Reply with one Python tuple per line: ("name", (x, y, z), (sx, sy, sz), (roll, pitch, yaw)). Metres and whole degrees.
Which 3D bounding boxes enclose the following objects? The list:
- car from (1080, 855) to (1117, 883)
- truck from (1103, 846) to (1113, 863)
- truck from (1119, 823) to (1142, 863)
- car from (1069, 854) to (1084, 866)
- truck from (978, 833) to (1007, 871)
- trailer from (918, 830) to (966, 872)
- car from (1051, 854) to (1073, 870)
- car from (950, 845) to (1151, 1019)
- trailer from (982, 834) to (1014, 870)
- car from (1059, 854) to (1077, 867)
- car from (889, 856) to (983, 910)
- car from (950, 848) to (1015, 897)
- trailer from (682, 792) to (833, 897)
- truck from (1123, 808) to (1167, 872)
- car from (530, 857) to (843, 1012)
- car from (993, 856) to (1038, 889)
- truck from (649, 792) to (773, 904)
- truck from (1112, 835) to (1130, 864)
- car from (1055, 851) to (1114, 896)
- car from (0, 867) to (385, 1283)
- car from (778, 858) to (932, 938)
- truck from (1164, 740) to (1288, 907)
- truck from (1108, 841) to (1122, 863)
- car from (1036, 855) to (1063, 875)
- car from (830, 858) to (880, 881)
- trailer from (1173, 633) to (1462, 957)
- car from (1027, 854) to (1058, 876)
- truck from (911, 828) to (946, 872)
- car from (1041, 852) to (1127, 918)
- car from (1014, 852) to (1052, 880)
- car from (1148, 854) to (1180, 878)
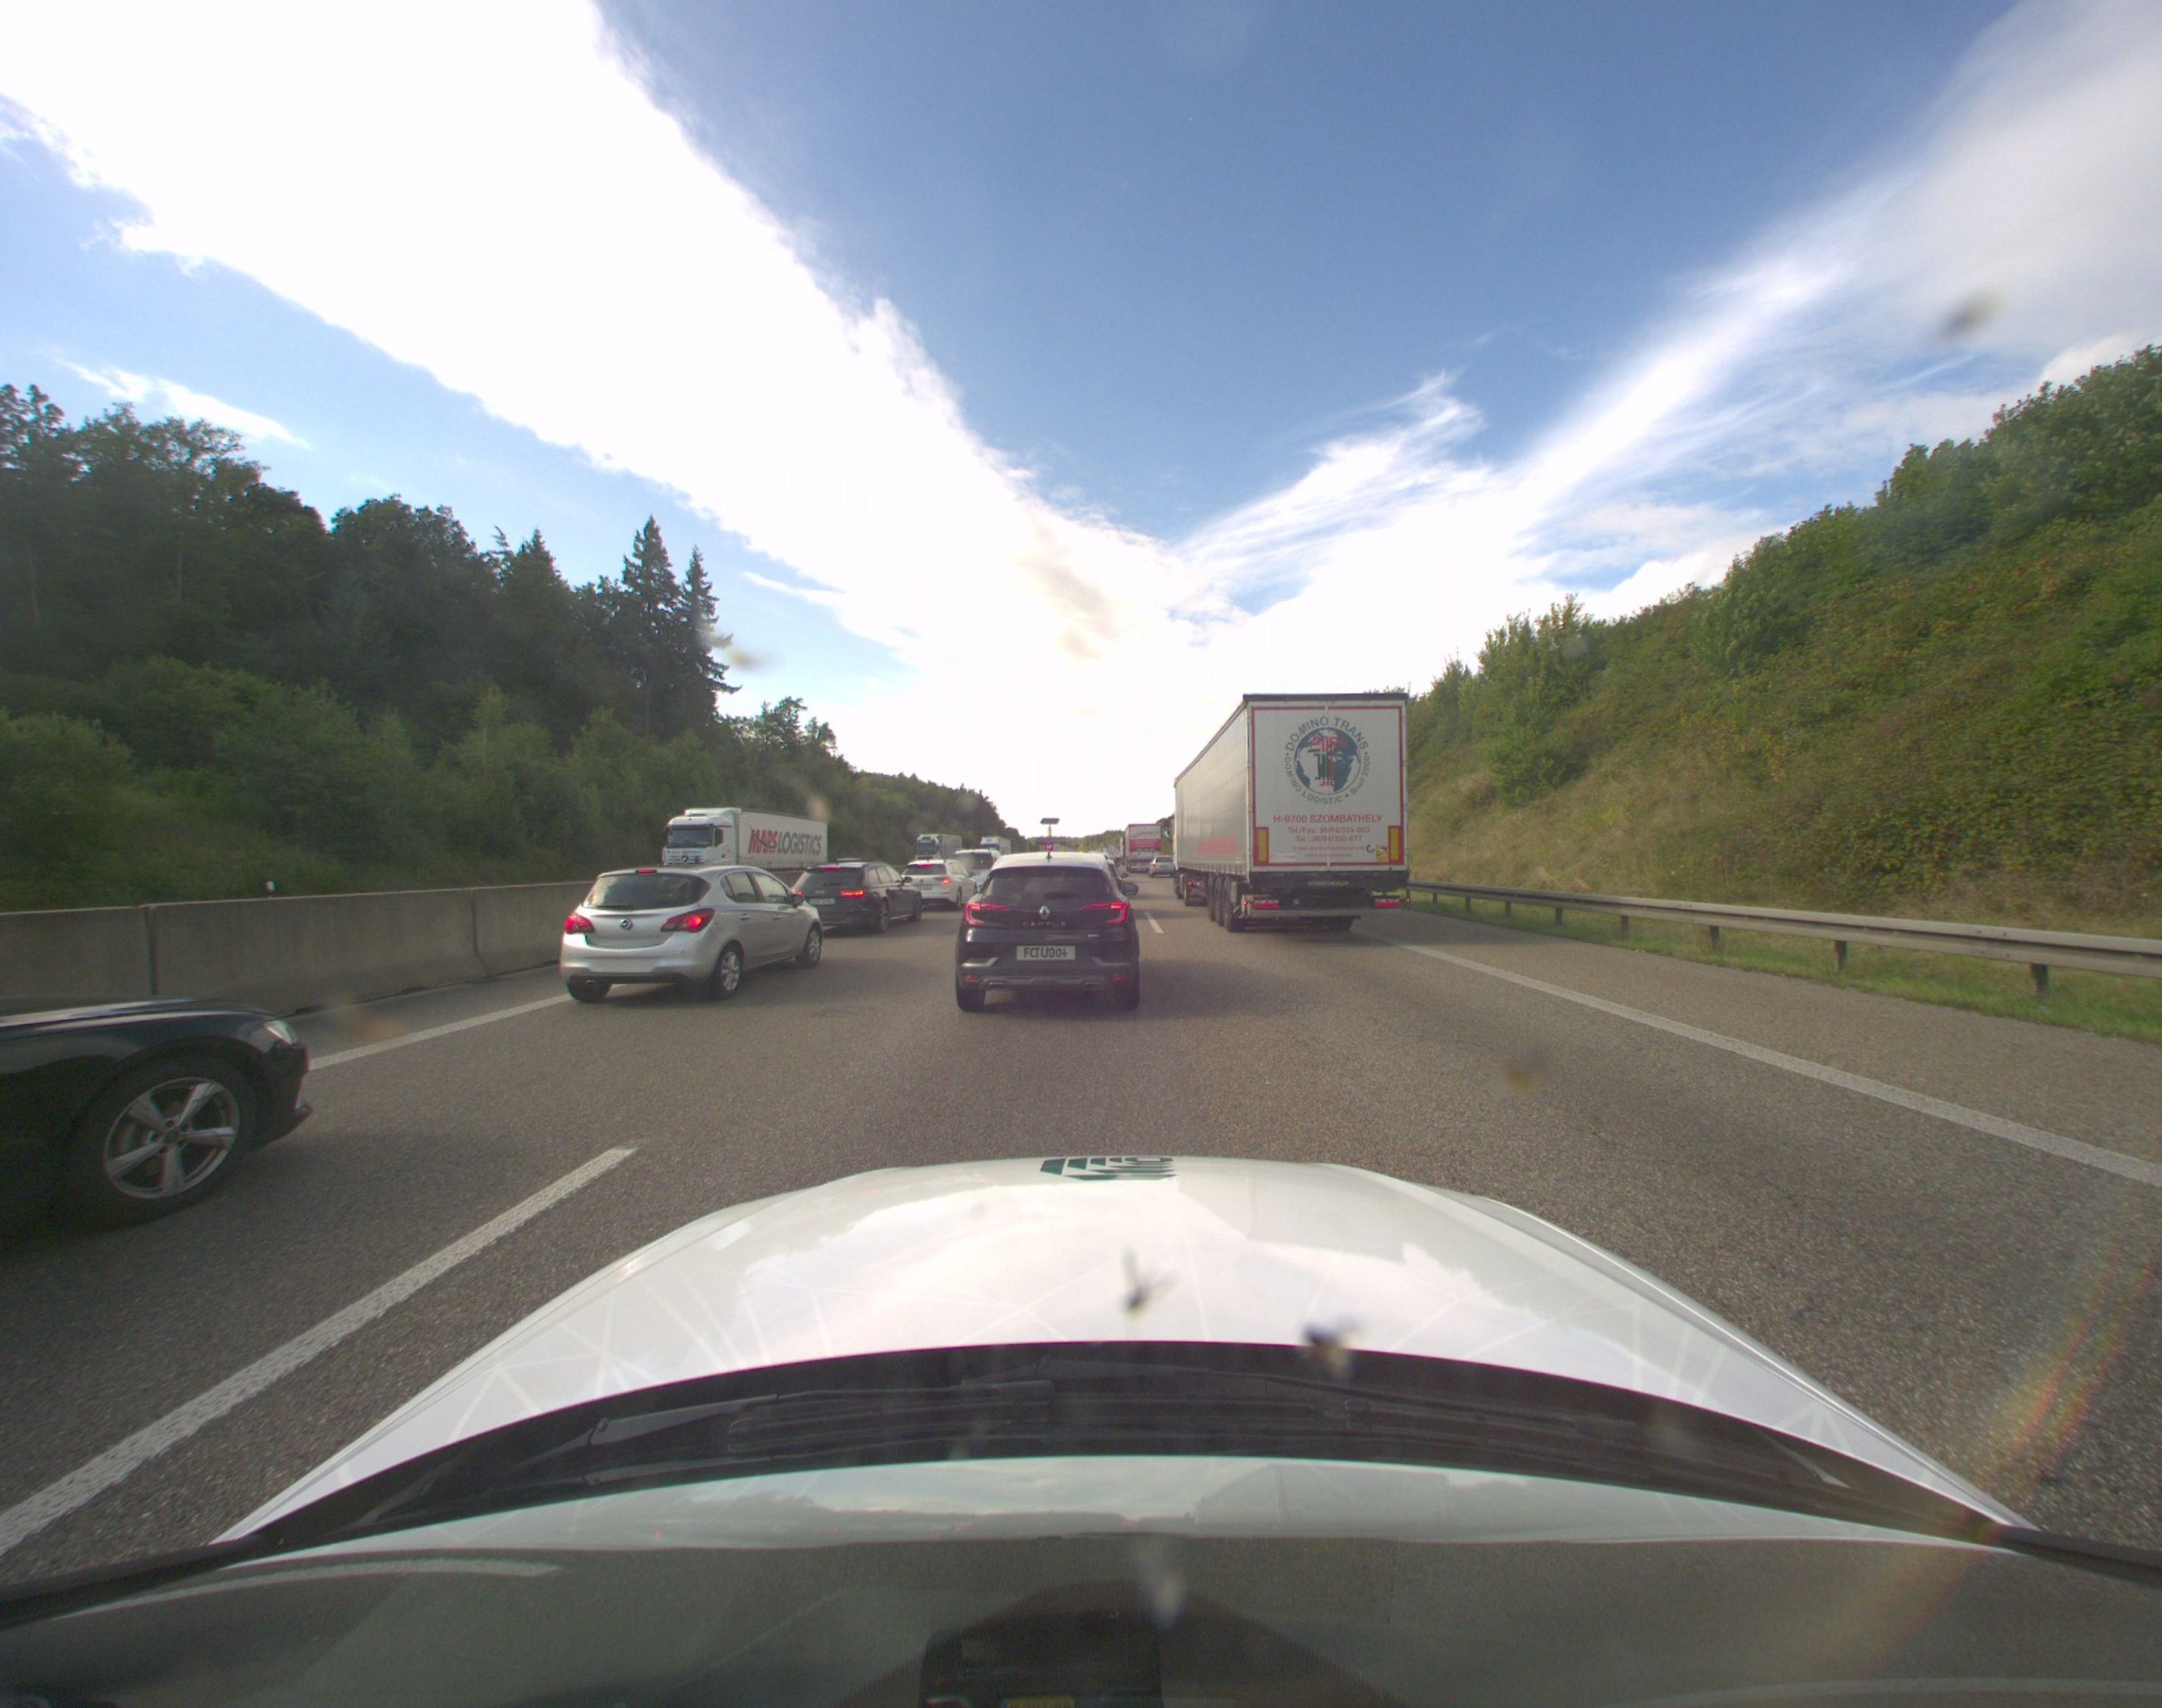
("car", (1.023, 0.829, 45.554), (1.986, 1.514, 4.002), (0, -1, 2))
("truck", (8.826, 0.276, 264.926), (3.154, 5.505, 12.745), (0, -1, 3))
("truck", (7.237, -1.443, 120.153), (3.154, 5.505, 12.745), (0, -1, 3))
("car", (-0.579, 0.889, 117.940), (1.986, 1.613, 4.002), (-1, 0, 2))
("truck", (-12.329, -0.271, 114.377), (3.077, 5.101, 7.143), (0, -1, 1))
("trailer", (-17.000, -0.276, 100.860), (2.916, 4.830, 14.658), (0, -1, 2))
("car", (-1.965, 0.819, 84.362), (1.986, 1.613, 4.002), (-1, 0, 2))
("car", (-0.132, 0.718, 9.364), (1.796, 1.552, 4.005), (-1, 0, 4))
("trailer", (-12.197, -0.212, 121.377), (3.077, 5.074, 13.838), (0, -1, 1))
("car", (-1.561, 0.771, 102.101), (1.986, 1.613, 4.002), (-1, 0, 2))
("car", (-4.196, 0.805, 24.263), (1.797, 1.461, 4.312), (-1, -1, 3))
("car", (-3.762, 0.690, 31.729), (1.905, 1.789, 4.418), (0, -1, 1))
("trailer", (-18.446, -0.432, 48.080), (3.031, 5.281, 13.839), (0, -1, 2))
("truck", (5.395, -1.055, 70.533), (3.351, 5.044, 12.745), (0, -1, 3))
("car", (-4.484, 0.805, 10.050), (1.740, 1.465, 4.043), (-1, 0, 2))
("car", (-3.351, 0.944, 42.526), (1.848, 1.641, 3.928), (0, -1, 3))
("truck", (-18.641, -0.245, 41.587), (3.028, 5.253, 6.885), (0, -1, 1))
("truck", (7.843, -0.744, 158.672), (3.152, 5.505, 12.751), (0, -1, 4))
("car", (0.193, 0.679, 29.508), (1.986, 1.514, 4.002), (0, -1, 2))
("car", (-4.868, 0.810, 2.057), (1.874, 1.471, 4.856), (0, 0, 3))
("car", (-4.670, 0.842, 17.657), (1.835, 1.456, 4.750), (0, 0, 2))
("truck", (4.389, -0.869, 25.914), (2.986, 4.667, 5.941), (-1, 0, 1))
("truck", (8.072, -0.411, 193.363), (3.154, 5.159, 12.745), (0, -1, 3))
("car", (-2.627, 0.908, 68.602), (1.986, 1.613, 4.002), (0, -1, 2))
("car", (-14.609, 0.986, 52.889), (1.947, 1.428, 4.325), (0, 0, 2))
("trailer", (4.177, -0.855, 18.432), (2.991, 4.661, 13.294), (-1, 0, 2))
("car", (-2.858, 0.836, 61.068), (1.986, 1.613, 4.002), (0, -1, 2))
("truck", (-17.367, -0.458, 93.015), (2.921, 4.859, 4.767), (0, -1, 1))
("car", (0.163, 0.743, 20.887), (1.986, 1.514, 4.002), (0, -1, 2))
("car", (-3.057, 0.755, 52.478), (1.986, 1.722, 4.002), (0, -1, 2))
("car", (5.523, 0.800, 54.639), (1.798, 1.533, 3.926), (0, -1, 1))
